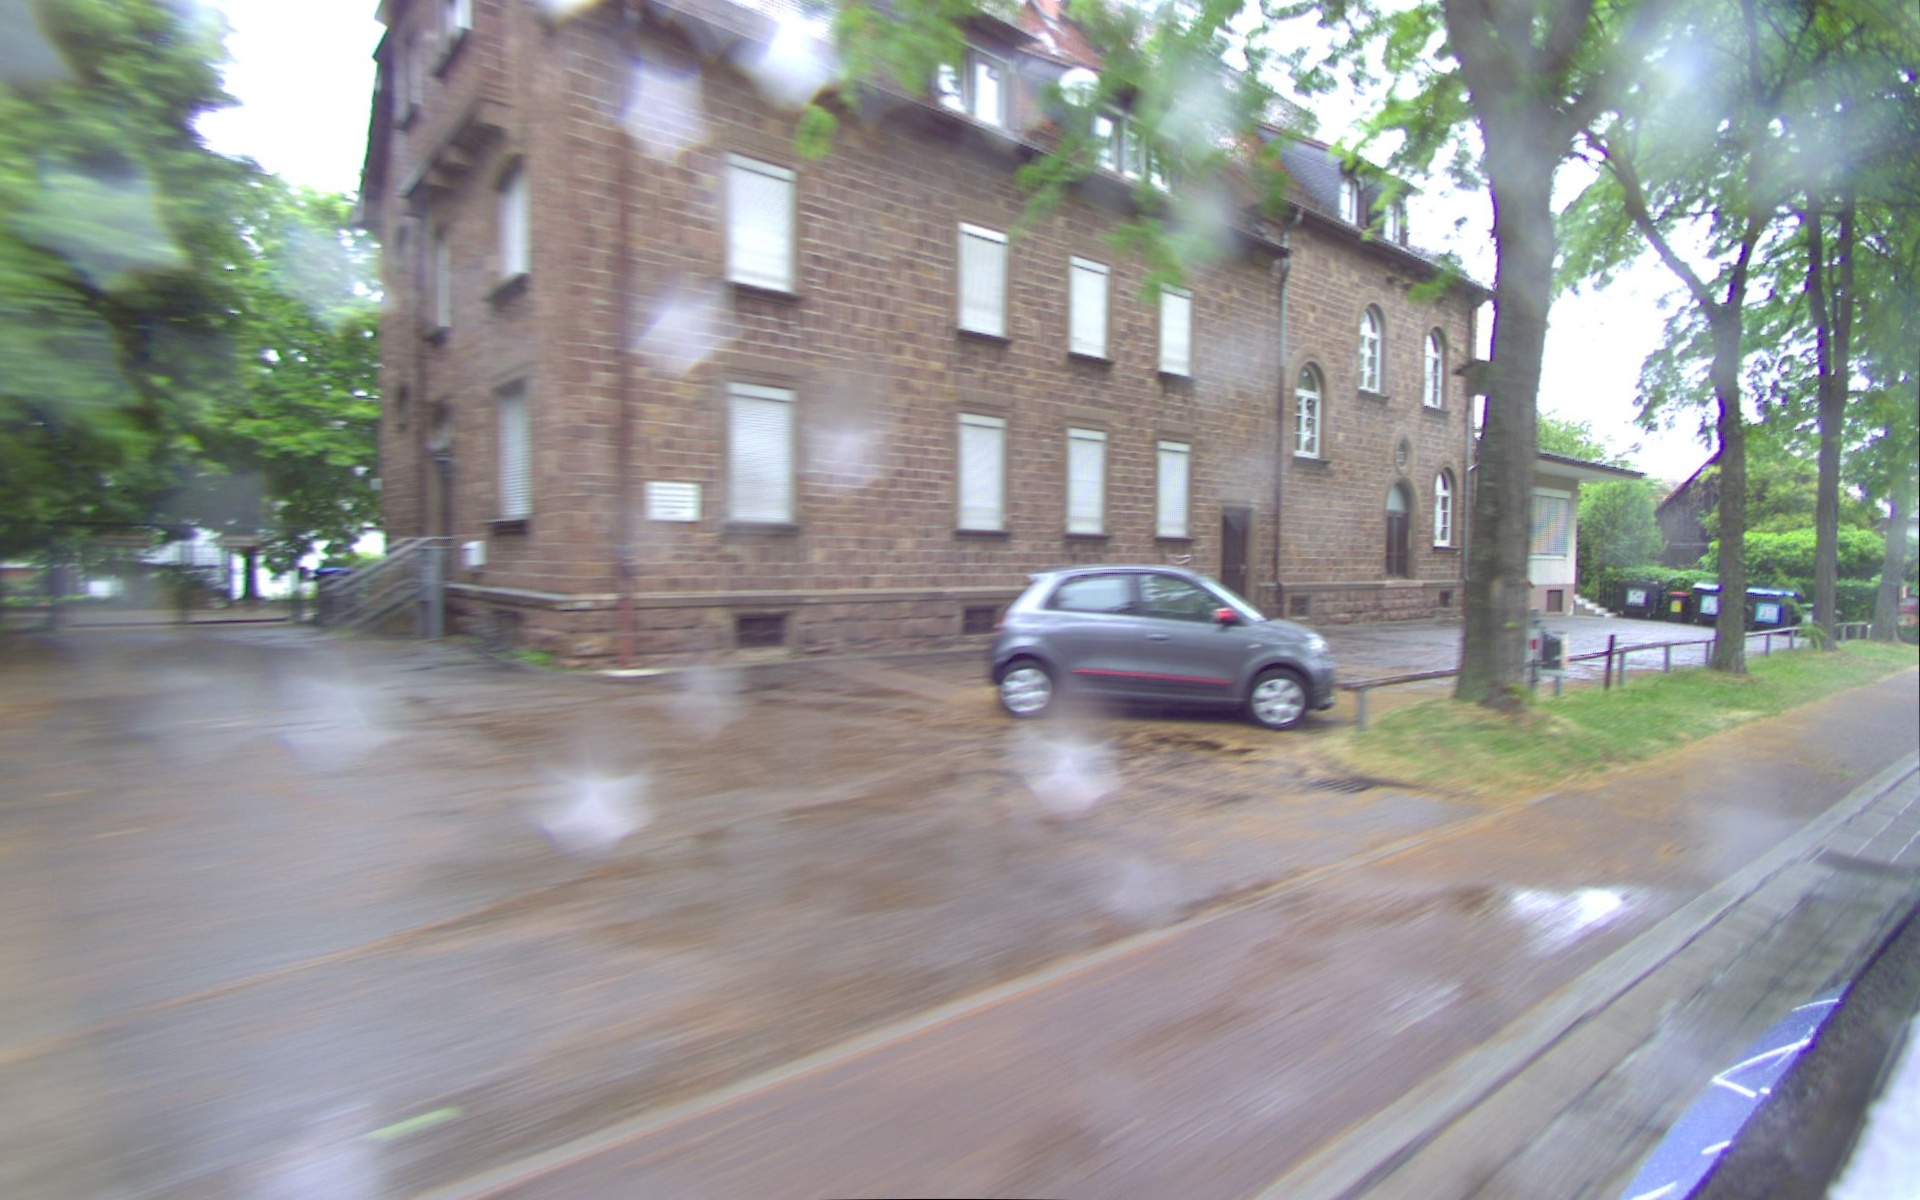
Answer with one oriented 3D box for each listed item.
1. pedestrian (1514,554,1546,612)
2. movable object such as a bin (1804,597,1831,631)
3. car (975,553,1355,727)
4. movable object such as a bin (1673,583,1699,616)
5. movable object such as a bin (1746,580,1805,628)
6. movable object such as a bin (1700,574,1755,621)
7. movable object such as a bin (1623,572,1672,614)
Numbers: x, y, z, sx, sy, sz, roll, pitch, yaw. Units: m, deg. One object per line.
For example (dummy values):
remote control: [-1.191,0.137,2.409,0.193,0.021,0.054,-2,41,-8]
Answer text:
pedestrian: [17.962,-0.531,31.890,0.851,1.776,0.535,1,2,-41]
movable object such as a bin: [27.461,0.454,32.398,0.455,1.035,0.538,0,5,-42]
car: [2.048,0.327,10.538,3.556,1.570,1.617,1,2,11]
movable object such as a bin: [25.221,-0.013,35.161,0.521,1.092,0.568,0,5,-42]
movable object such as a bin: [26.739,0.131,33.201,0.782,1.435,1.296,0,6,-42]
movable object such as a bin: [26.005,-0.093,34.302,0.782,1.452,1.238,0,6,-42]
movable object such as a bin: [24.406,-0.248,35.933,0.782,1.358,1.151,0,6,-41]
